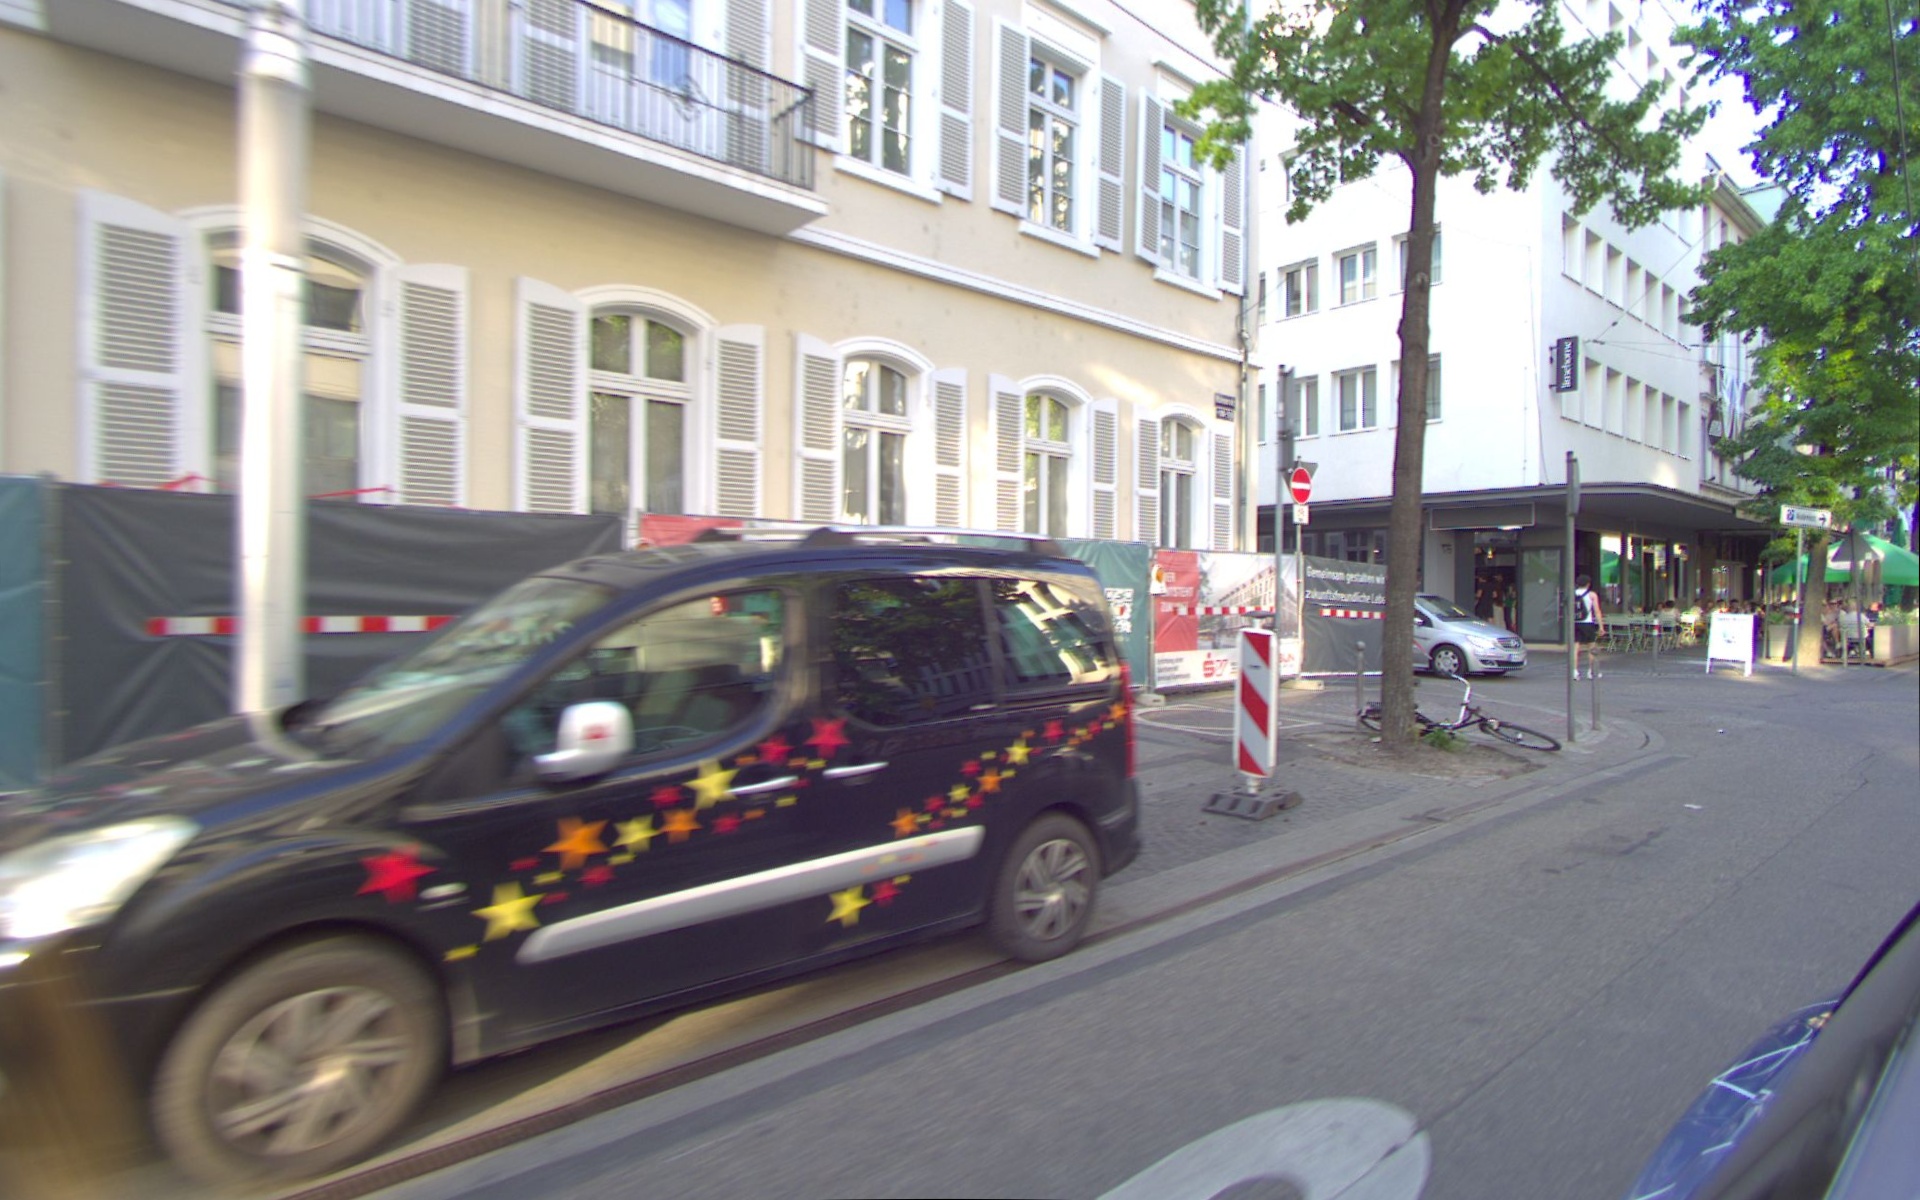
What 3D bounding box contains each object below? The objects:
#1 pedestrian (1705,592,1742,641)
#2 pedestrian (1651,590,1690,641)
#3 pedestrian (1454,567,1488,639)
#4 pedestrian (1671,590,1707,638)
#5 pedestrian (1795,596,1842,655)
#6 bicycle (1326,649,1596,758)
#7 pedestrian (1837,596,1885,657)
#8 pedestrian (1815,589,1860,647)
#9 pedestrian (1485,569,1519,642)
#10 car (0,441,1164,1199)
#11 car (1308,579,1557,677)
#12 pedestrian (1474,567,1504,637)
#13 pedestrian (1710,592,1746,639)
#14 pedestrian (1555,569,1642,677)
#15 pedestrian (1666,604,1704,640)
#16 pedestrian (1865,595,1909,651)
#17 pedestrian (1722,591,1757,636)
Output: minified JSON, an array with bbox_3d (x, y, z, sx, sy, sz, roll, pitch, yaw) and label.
[{"bbox_3d":[21.435,0.453,28.422,0.613,1.346,0.716,0,0,-39],"label":"pedestrian"},{"bbox_3d":[18.891,0.398,26.916,0.613,1.346,0.716,0,0,-39],"label":"pedestrian"},{"bbox_3d":[13.843,0.074,27.420,0.715,1.933,0.567,0,0,19],"label":"pedestrian"},{"bbox_3d":[20.943,0.394,29.073,0.613,1.346,0.716,0,0,-39],"label":"pedestrian"},{"bbox_3d":[19.891,0.580,23.448,0.613,1.346,0.716,0,0,-39],"label":"pedestrian"},{"bbox_3d":[4.779,0.947,9.793,1.531,0.757,1.761,0,2,-23],"label":"bicycle"},{"bbox_3d":[20.344,0.590,22.857,0.613,1.346,0.716,0,0,-39],"label":"pedestrian"},{"bbox_3d":[20.833,0.422,24.036,0.613,1.346,0.716,0,0,-39],"label":"pedestrian"},{"bbox_3d":[14.553,0.130,27.164,0.715,1.933,0.567,0,0,21],"label":"pedestrian"},{"bbox_3d":[-1.367,0.506,4.039,4.236,1.815,1.958,0,3,-38],"label":"car"},{"bbox_3d":[8.905,0.450,19.383,1.831,1.628,3.944,-2,2,-33],"label":"car"},{"bbox_3d":[13.772,0.036,26.354,0.616,1.788,0.712,0,0,21],"label":"pedestrian"},{"bbox_3d":[22.821,0.448,30.072,0.613,1.346,0.716,0,0,-39],"label":"pedestrian"},{"bbox_3d":[11.365,0.382,18.024,1.050,1.837,0.946,-2,1,-33],"label":"pedestrian"},{"bbox_3d":[19.857,0.599,27.729,0.613,0.944,0.716,0,0,-39],"label":"pedestrian"},{"bbox_3d":[22.694,0.552,24.782,0.613,1.346,0.716,0,0,-39],"label":"pedestrian"},{"bbox_3d":[23.577,0.390,30.626,0.613,1.346,0.716,0,0,-39],"label":"pedestrian"}]
